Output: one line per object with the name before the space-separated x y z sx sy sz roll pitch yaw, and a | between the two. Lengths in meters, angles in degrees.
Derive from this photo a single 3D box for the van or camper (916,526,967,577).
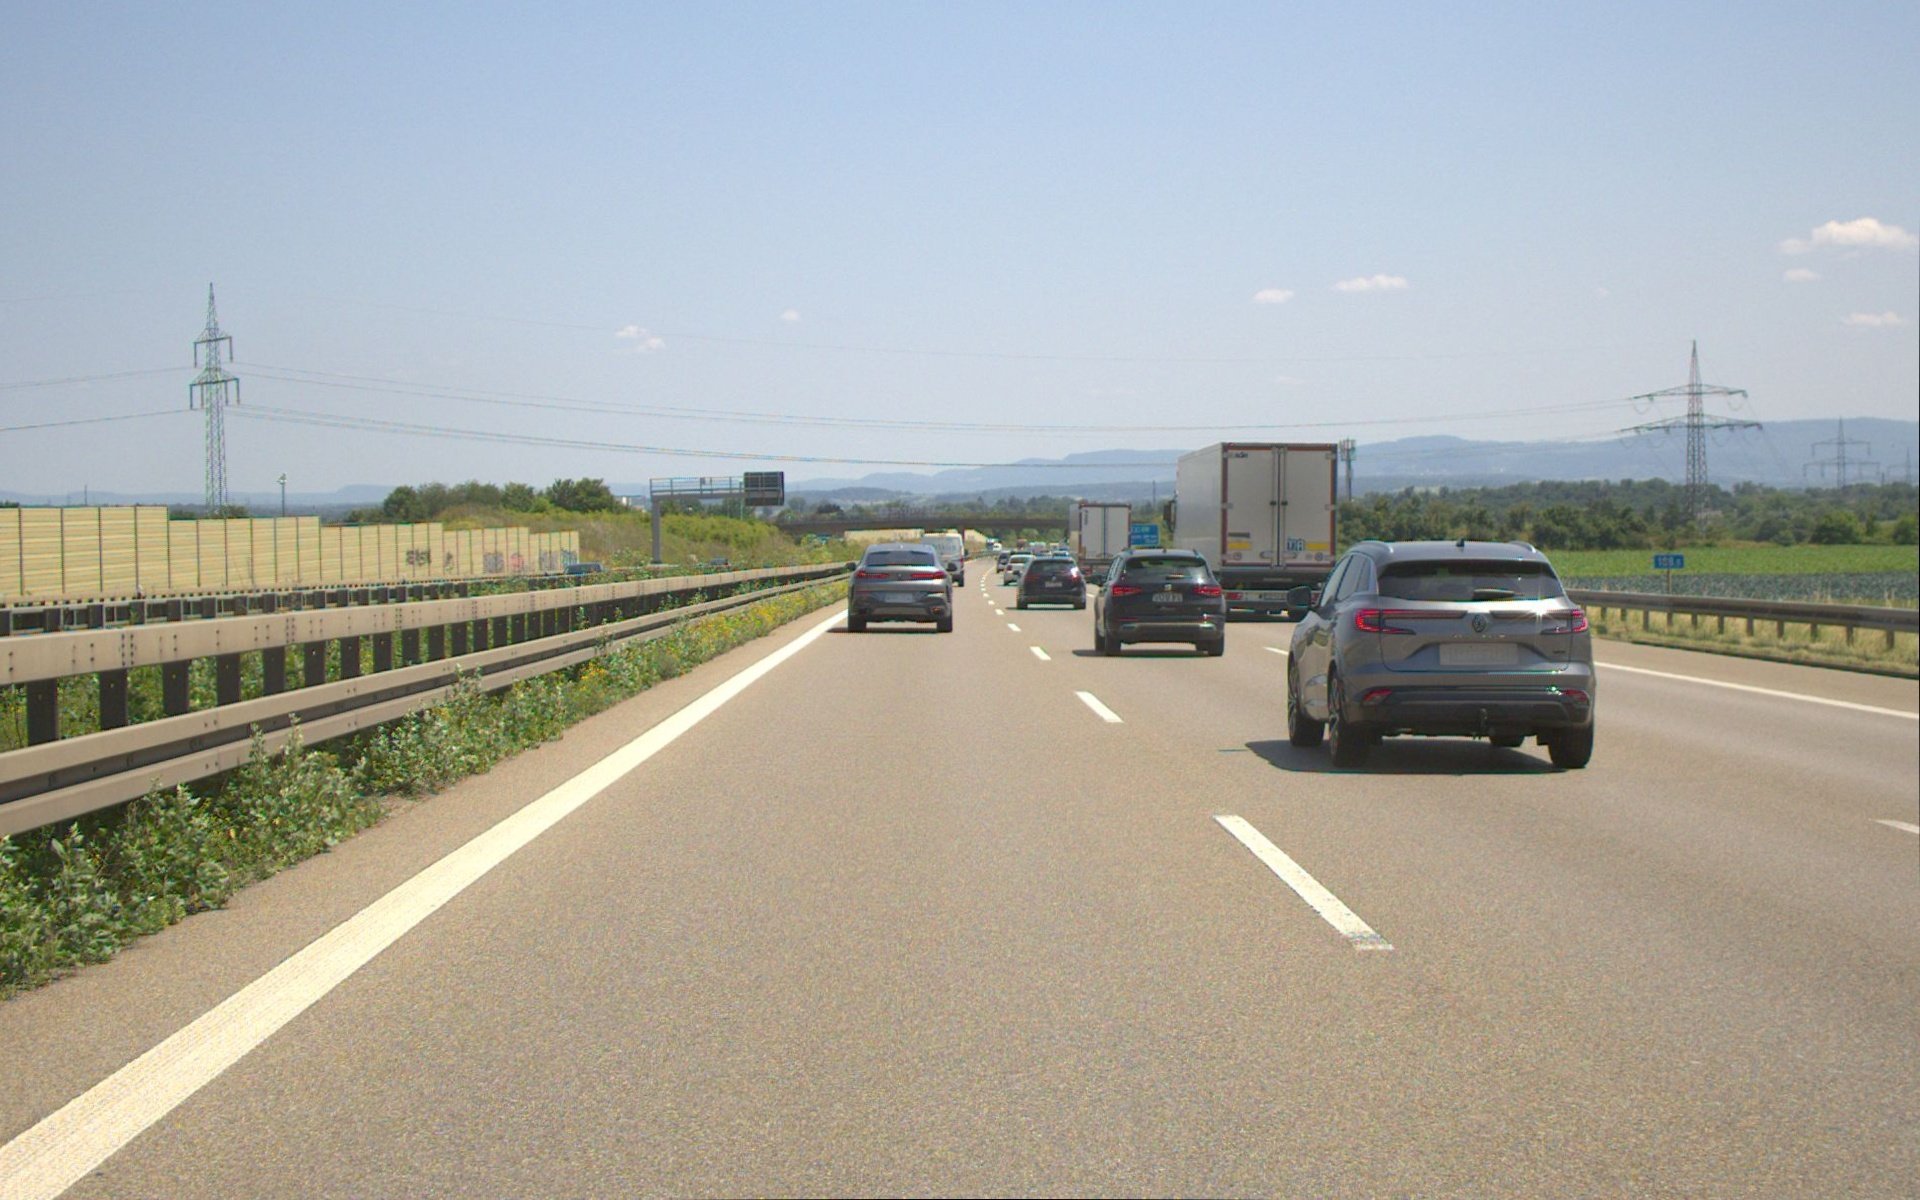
van or camper | -0.812 -2.133 153.311 2.111 2.204 5.265 1 0 1

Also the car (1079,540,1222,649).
car | 2.845 -0.099 52.047 1.796 1.556 3.824 1 0 -2

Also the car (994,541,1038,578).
car | 2.611 -1.858 158.935 1.993 1.677 4.000 1 0 1

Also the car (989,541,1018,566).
car | 3.045 -3.245 239.466 1.993 1.677 4.000 1 0 1

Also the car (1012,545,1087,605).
car | 2.410 -0.694 93.796 1.933 1.569 4.934 1 0 1

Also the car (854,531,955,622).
car | -1.086 -0.456 65.805 1.851 1.658 3.735 1 0 -2

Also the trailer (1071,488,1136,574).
trailer | 7.301 -3.445 176.368 2.943 4.184 13.596 1 0 1

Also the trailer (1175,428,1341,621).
trailer | 6.985 -1.728 82.422 2.868 4.205 13.294 1 0 0

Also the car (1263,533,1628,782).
car | 3.472 0.375 25.450 1.851 1.643 4.645 1 0 -2
